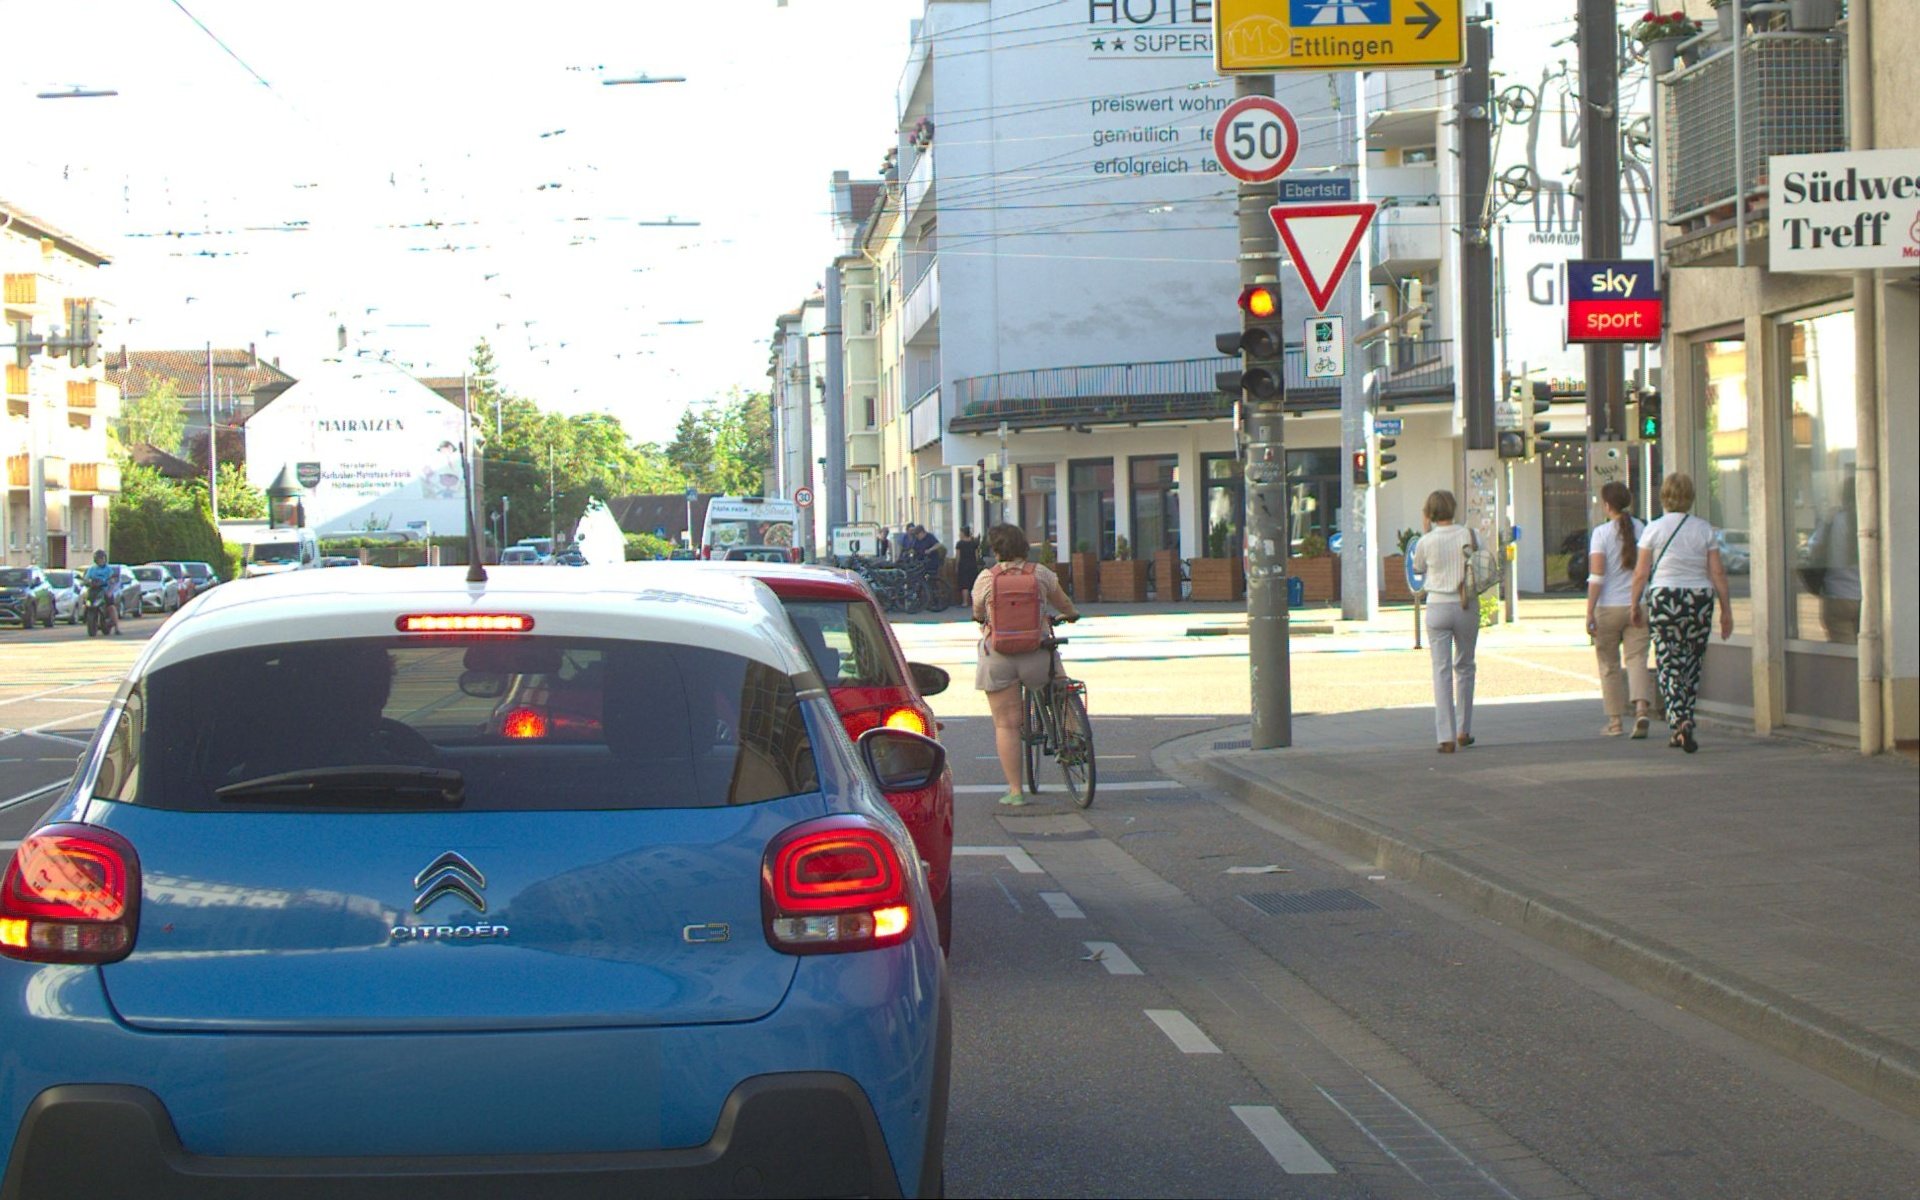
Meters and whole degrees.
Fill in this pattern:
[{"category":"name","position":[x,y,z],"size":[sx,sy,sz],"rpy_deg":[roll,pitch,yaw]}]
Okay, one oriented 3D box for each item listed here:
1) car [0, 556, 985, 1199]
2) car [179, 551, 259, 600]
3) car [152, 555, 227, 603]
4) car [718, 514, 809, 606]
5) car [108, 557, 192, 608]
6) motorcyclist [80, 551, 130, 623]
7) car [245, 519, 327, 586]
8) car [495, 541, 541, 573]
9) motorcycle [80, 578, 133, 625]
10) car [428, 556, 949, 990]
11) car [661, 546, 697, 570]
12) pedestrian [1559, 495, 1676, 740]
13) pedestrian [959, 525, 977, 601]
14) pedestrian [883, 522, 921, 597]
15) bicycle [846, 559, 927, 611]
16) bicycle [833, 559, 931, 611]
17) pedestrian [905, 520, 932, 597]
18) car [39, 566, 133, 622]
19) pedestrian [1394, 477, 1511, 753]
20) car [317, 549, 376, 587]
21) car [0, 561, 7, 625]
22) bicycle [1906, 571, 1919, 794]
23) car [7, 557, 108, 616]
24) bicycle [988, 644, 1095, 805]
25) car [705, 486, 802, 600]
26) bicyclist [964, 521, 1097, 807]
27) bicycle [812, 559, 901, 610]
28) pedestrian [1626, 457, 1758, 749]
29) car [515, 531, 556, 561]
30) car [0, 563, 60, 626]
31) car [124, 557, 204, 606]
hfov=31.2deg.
[{"category":"car","position":[-1.054,0.645,7.429],"size":[1.743,1.457,4.001],"rpy_deg":[0,1,-7]},{"category":"car","position":[-26.198,-0.889,121.598],"size":[2.030,1.614,4.511],"rpy_deg":[-1,1,-3]},{"category":"car","position":[-26.005,-0.726,116.174],"size":[1.870,1.568,4.001],"rpy_deg":[-1,1,-4]},{"category":"car","position":[-3.869,-0.787,67.528],"size":[1.732,1.744,3.214],"rpy_deg":[0,1,-4]},{"category":"car","position":[-24.973,-0.550,106.083],"size":[1.910,1.492,4.001],"rpy_deg":[-1,1,-5]},{"category":"motorcyclist","position":[-16.686,-0.262,67.131],"size":[0.719,1.373,0.911],"rpy_deg":[-1,1,0]},{"category":"car","position":[-23.378,-1.655,119.337],"size":[2.206,2.243,4.678],"rpy_deg":[-1,1,-4]},{"category":"car","position":[-21.758,-2.127,169.408],"size":[2.021,1.520,4.001],"rpy_deg":[-1,1,-4]},{"category":"motorcycle","position":[-16.692,0.022,67.290],"size":[0.615,0.861,1.671],"rpy_deg":[-1,1,0]},{"category":"car","position":[-0.942,0.561,13.652],"size":[1.738,1.415,4.000],"rpy_deg":[-1,1,-1]},{"category":"car","position":[-15.256,-2.299,186.638],"size":[1.754,1.255,3.833],"rpy_deg":[-1,1,-7]},{"category":"pedestrian","position":[4.178,0.102,21.878],"size":[0.541,1.502,0.611],"rpy_deg":[-3,3,-2]},{"category":"pedestrian","position":[0.169,-0.761,70.151],"size":[0.284,1.550,0.305],"rpy_deg":[-1,1,-9]},{"category":"pedestrian","position":[-1.222,-0.859,72.369],"size":[0.646,1.550,0.493],"rpy_deg":[-2,1,-22]},{"category":"bicycle","position":[-1.416,-0.286,66.001],"size":[1.504,0.953,0.702],"rpy_deg":[-1,1,1]},{"category":"bicycle","position":[-1.519,-0.300,67.060],"size":[1.874,0.953,0.702],"rpy_deg":[-1,1,1]},{"category":"pedestrian","position":[-0.850,-0.847,69.801],"size":[0.491,1.550,0.384],"rpy_deg":[-1,1,-3]},{"category":"car","position":[-24.795,-0.190,97.683],"size":[1.910,1.492,4.001],"rpy_deg":[-1,1,-5]},{"category":"pedestrian","position":[3.075,0.082,21.493],"size":[0.541,1.666,0.624],"rpy_deg":[-3,3,-2]},{"category":"car","position":[-25.766,-1.364,144.498],"size":[2.021,1.520,4.001],"rpy_deg":[-1,1,-4]},{"category":"car","position":[-23.344,-0.110,79.188],"size":[1.910,1.492,4.001],"rpy_deg":[-1,1,-5]},{"category":"bicycle","position":[4.912,0.404,15.741],"size":[0.530,1.068,1.811],"rpy_deg":[-1,1,-4]},{"category":"car","position":[-24.138,-0.384,92.107],"size":[1.910,1.492,4.001],"rpy_deg":[-1,1,-5]},{"category":"bicycle","position":[0.476,0.728,20.716],"size":[0.498,0.861,1.749],"rpy_deg":[-1,1,-3]},{"category":"car","position":[-4.360,-1.193,72.438],"size":[1.993,2.317,4.001],"rpy_deg":[0,1,-4]},{"category":"bicyclist","position":[0.411,0.363,20.296],"size":[0.726,1.640,0.790],"rpy_deg":[-1,1,-1]},{"category":"bicycle","position":[-2.060,-0.312,68.419],"size":[1.720,0.953,0.702],"rpy_deg":[-1,1,1]},{"category":"pedestrian","position":[4.314,0.010,20.289],"size":[0.541,1.666,0.650],"rpy_deg":[-3,1,-2]},{"category":"car","position":[-23.151,-2.953,187.439],"size":[2.021,1.520,4.001],"rpy_deg":[-1,1,-4]},{"category":"car","position":[-23.871,-0.136,85.971],"size":[1.910,1.492,4.001],"rpy_deg":[-1,1,-5]},{"category":"car","position":[-25.698,-0.609,111.082],"size":[1.910,1.492,4.001],"rpy_deg":[-1,1,-5]}]
